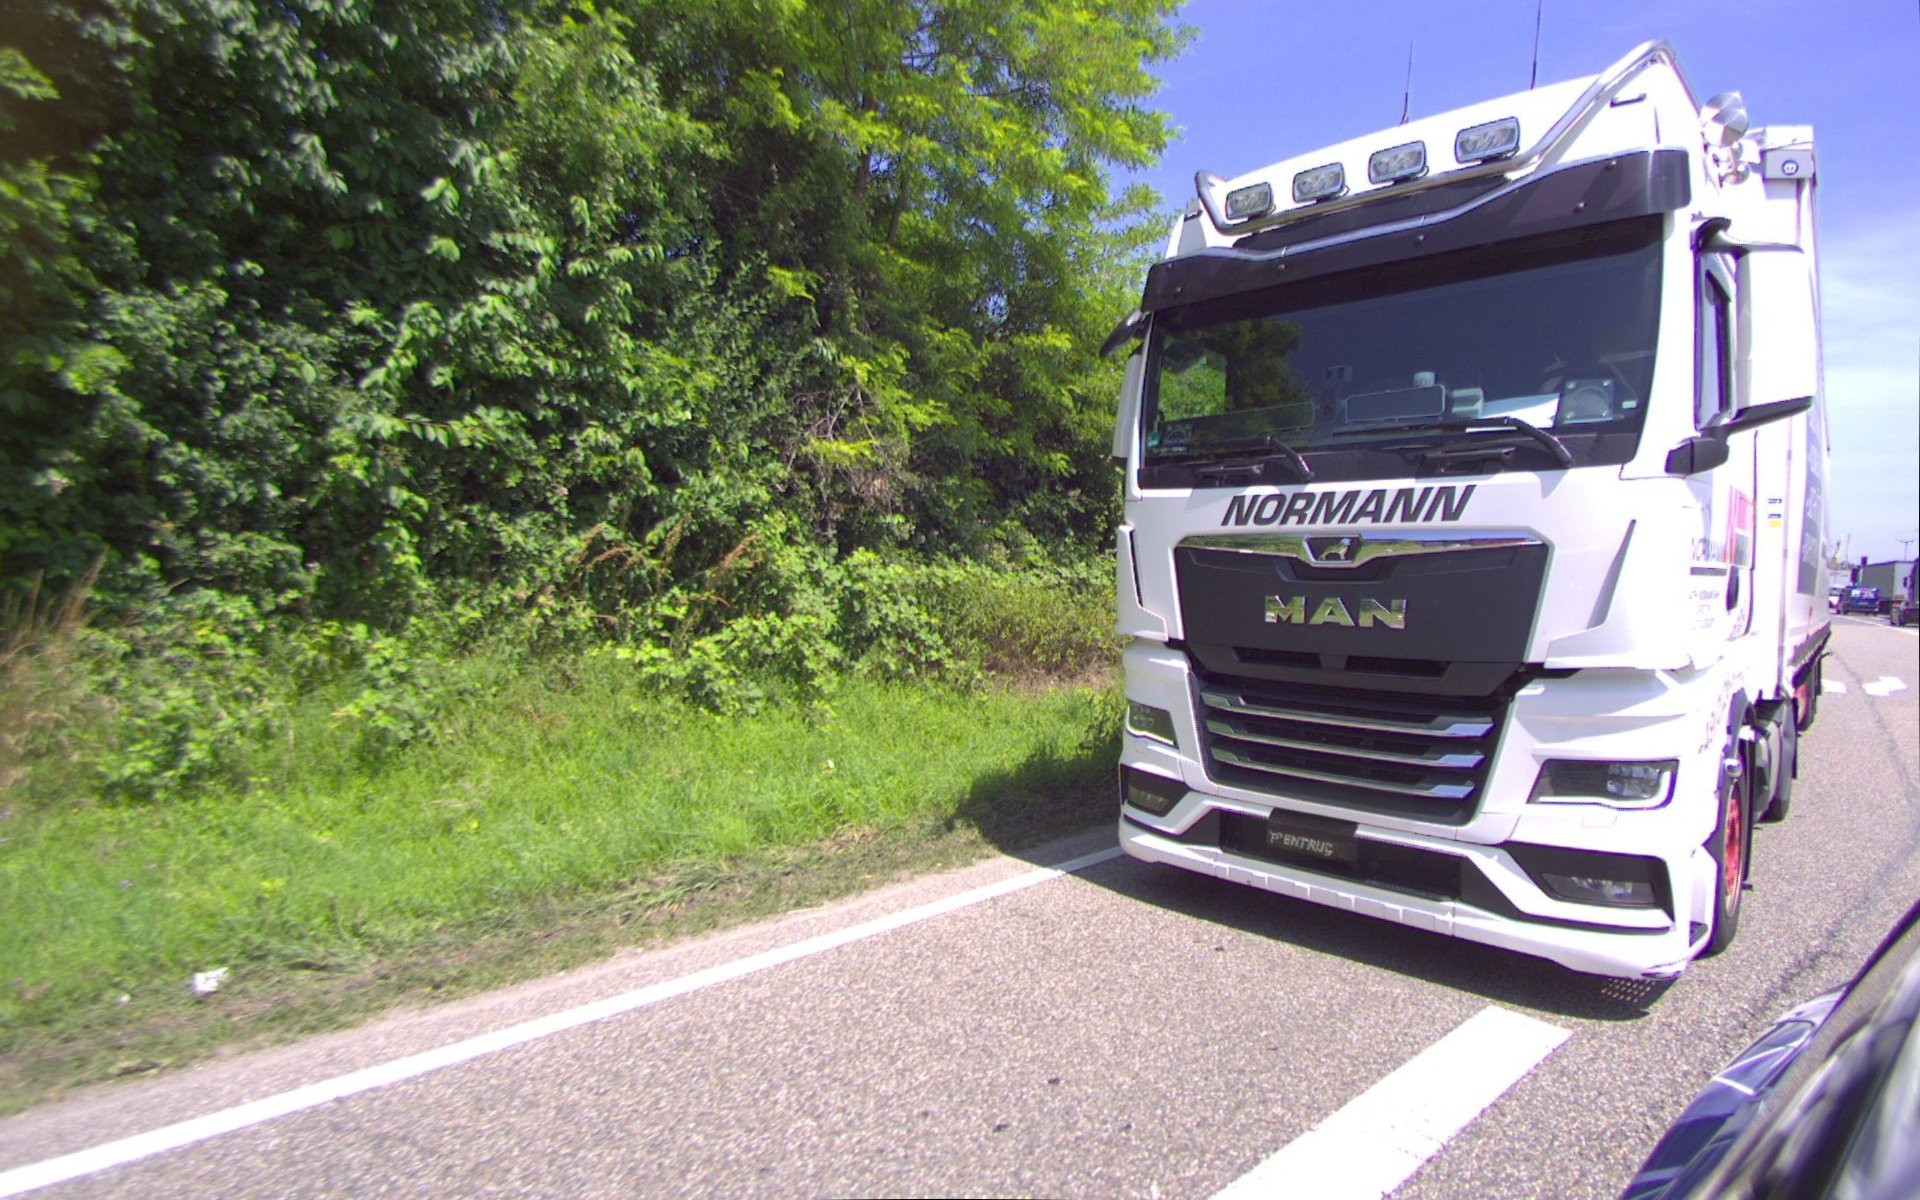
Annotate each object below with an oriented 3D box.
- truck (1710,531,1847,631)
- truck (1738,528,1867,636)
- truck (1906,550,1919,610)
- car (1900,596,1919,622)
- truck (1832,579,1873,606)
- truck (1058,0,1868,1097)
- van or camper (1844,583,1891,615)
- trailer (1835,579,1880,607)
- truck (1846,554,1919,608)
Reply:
[{"bbox_3d":[38.805,-1.005,48.570,2.960,4.058,13.969,4,3,31],"label":"truck"},{"bbox_3d":[35.253,-0.815,42.624,2.961,4.058,6.258,5,4,31],"label":"truck"},{"bbox_3d":[62.171,-1.196,62.625,2.836,3.936,16.790,4,3,35],"label":"truck"},{"bbox_3d":[50.443,0.476,52.544,1.844,1.286,4.123,4,3,36],"label":"car"},{"bbox_3d":[87.419,-0.799,99.196,2.421,2.368,5.599,7,5,37],"label":"truck"},{"bbox_3d":[7.283,-0.747,10.559,2.970,4.145,17.373,0,1,41],"label":"truck"},{"bbox_3d":[65.134,-0.081,72.689,1.832,2.164,5.274,3,2,36],"label":"van or camper"},{"bbox_3d":[85.152,-0.736,96.126,2.424,2.365,6.806,7,5,36],"label":"trailer"},{"bbox_3d":[74.441,-1.600,80.675,2.777,3.936,16.303,3,3,31],"label":"truck"}]
